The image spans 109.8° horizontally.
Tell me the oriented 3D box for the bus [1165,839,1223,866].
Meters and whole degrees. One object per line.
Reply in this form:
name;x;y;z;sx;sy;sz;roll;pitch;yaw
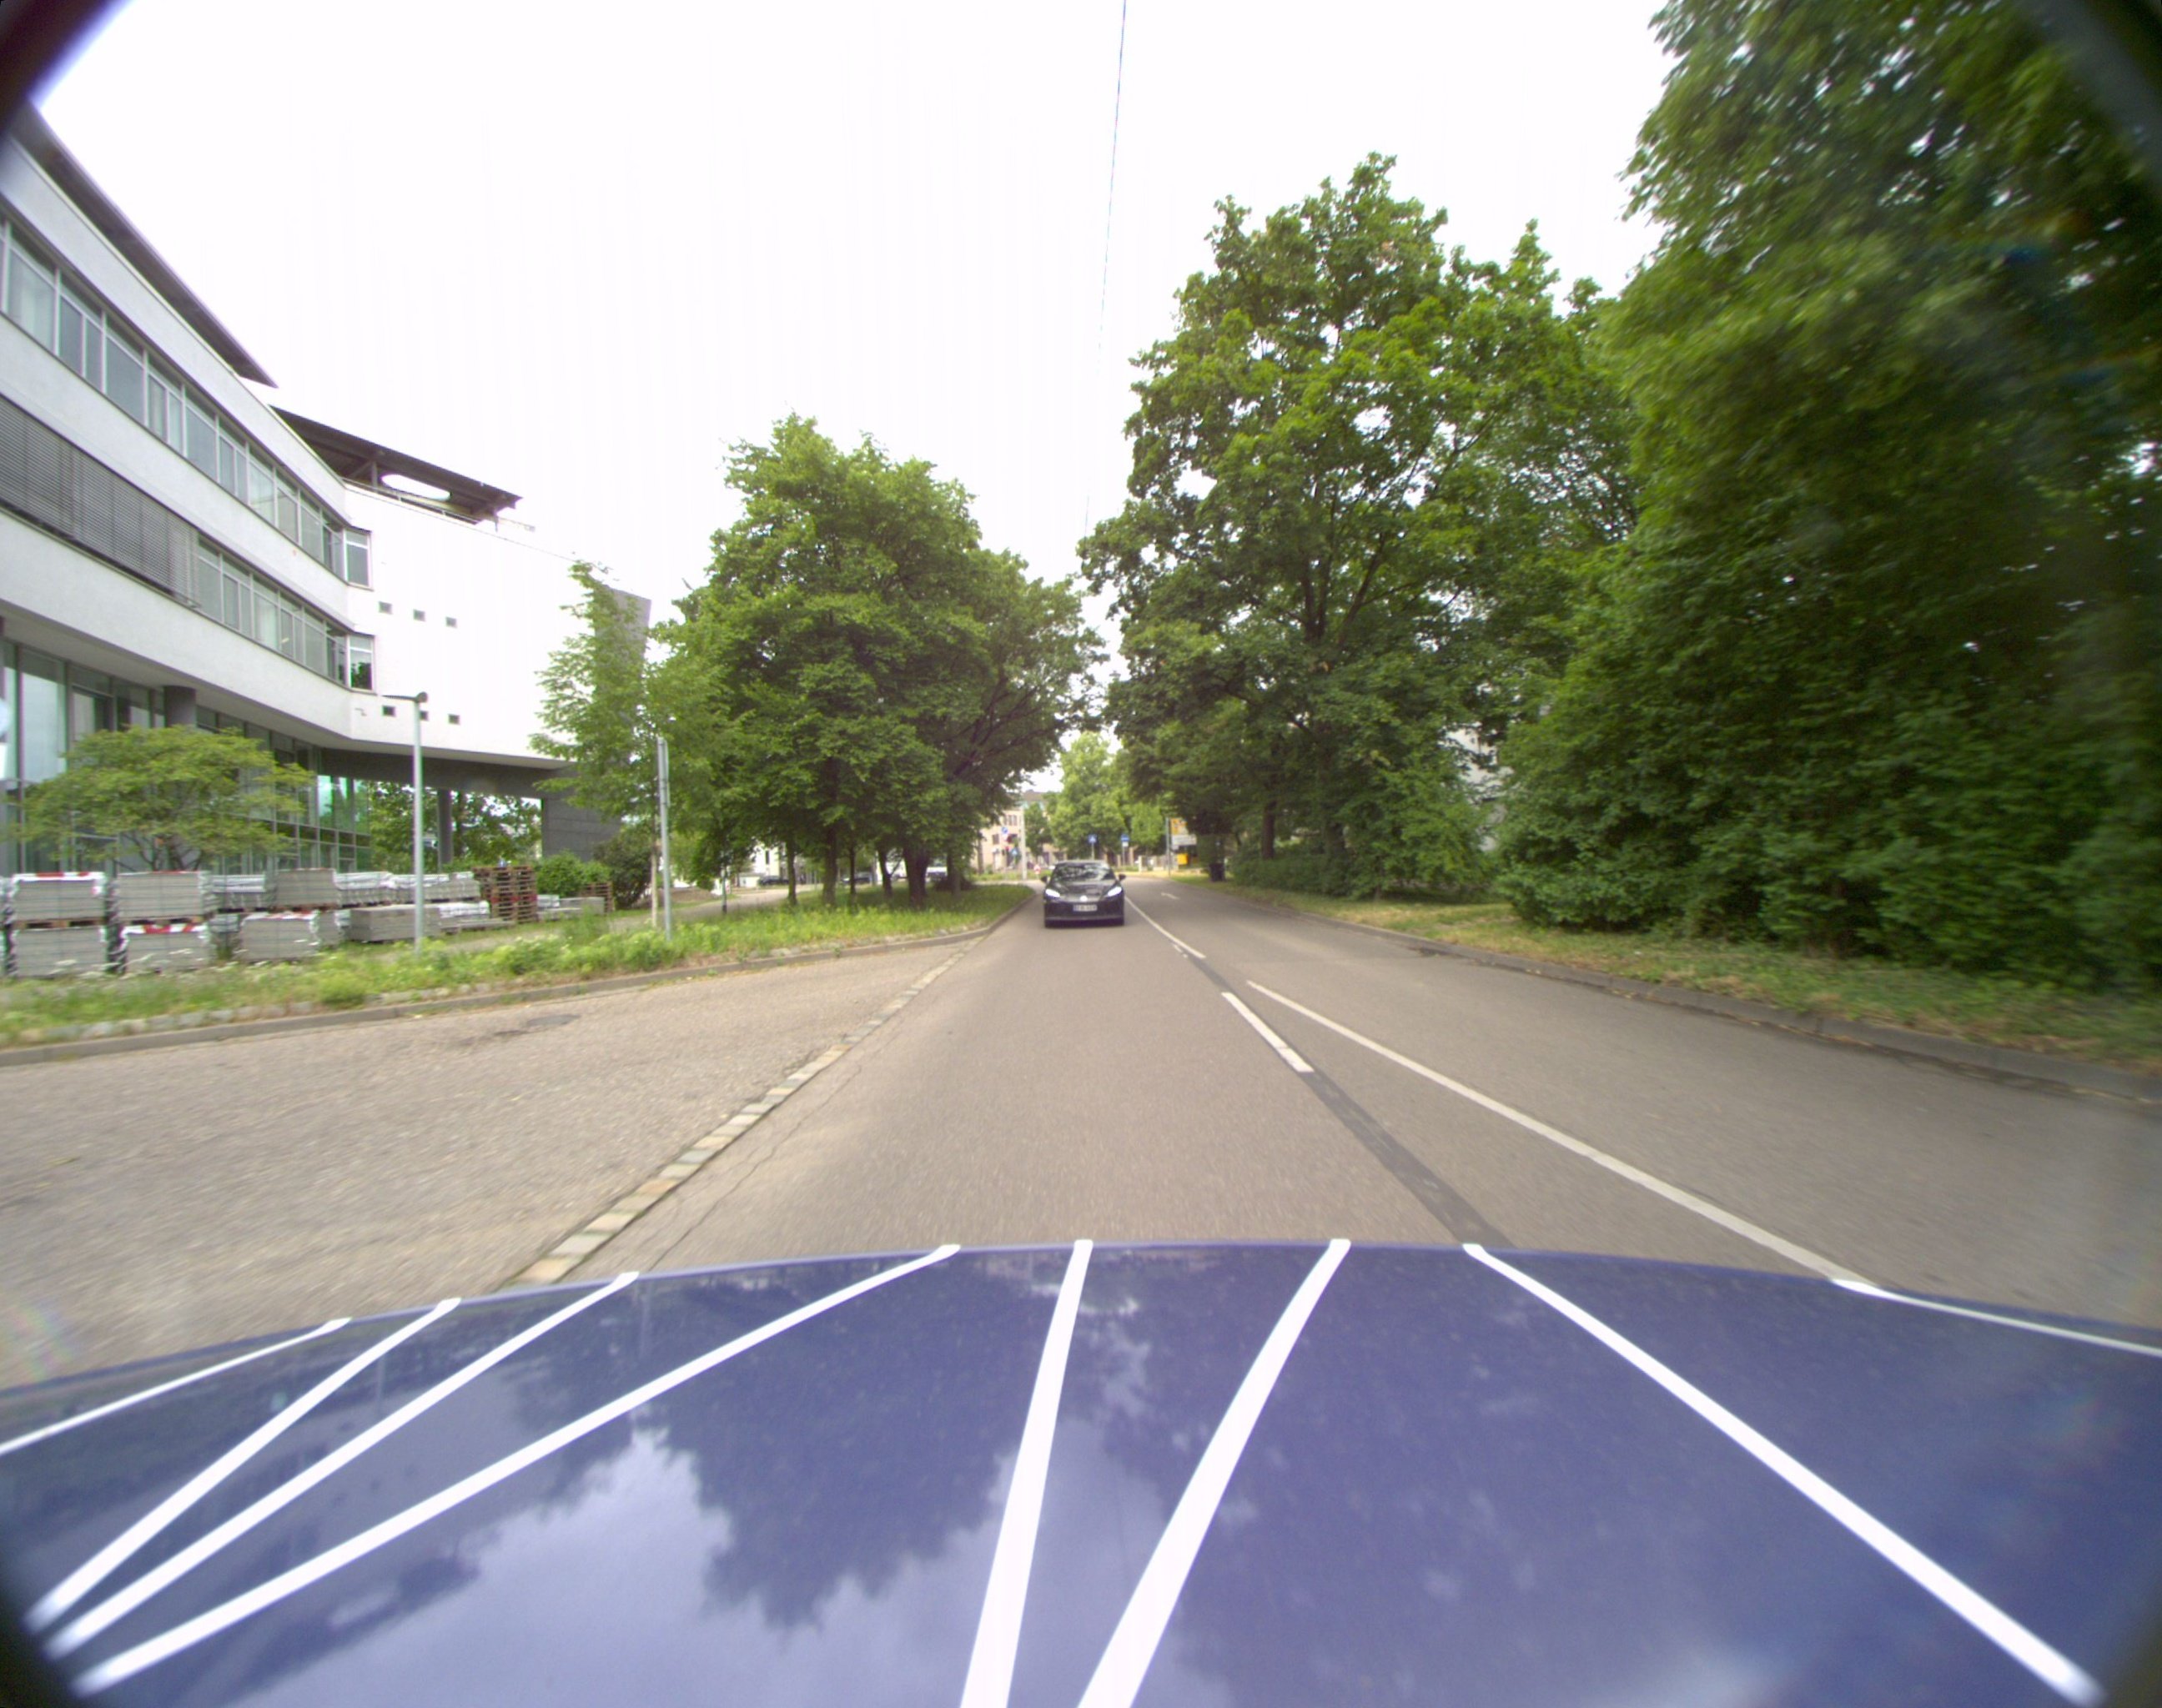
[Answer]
bus;15.355;-0.230;102.457;8.445;2.990;3.046;-4;-1;-45

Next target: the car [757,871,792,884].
car;-44.080;3.333;109.381;1.995;1.591;4.134;-6;-4;44

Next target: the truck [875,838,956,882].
truck;-12.800;0.464;58.510;6.448;3.176;2.442;-2;0;38

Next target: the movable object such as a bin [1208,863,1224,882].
movable object such as a bin;6.653;0.922;37.445;0.619;0.874;0.594;-6;-1;21

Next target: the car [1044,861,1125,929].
car;0.143;0.954;19.233;1.800;1.475;4.020;-1;0;2

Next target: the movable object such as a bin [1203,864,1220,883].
movable object such as a bin;6.246;0.933;36.301;0.599;0.840;0.579;-6;-1;21
